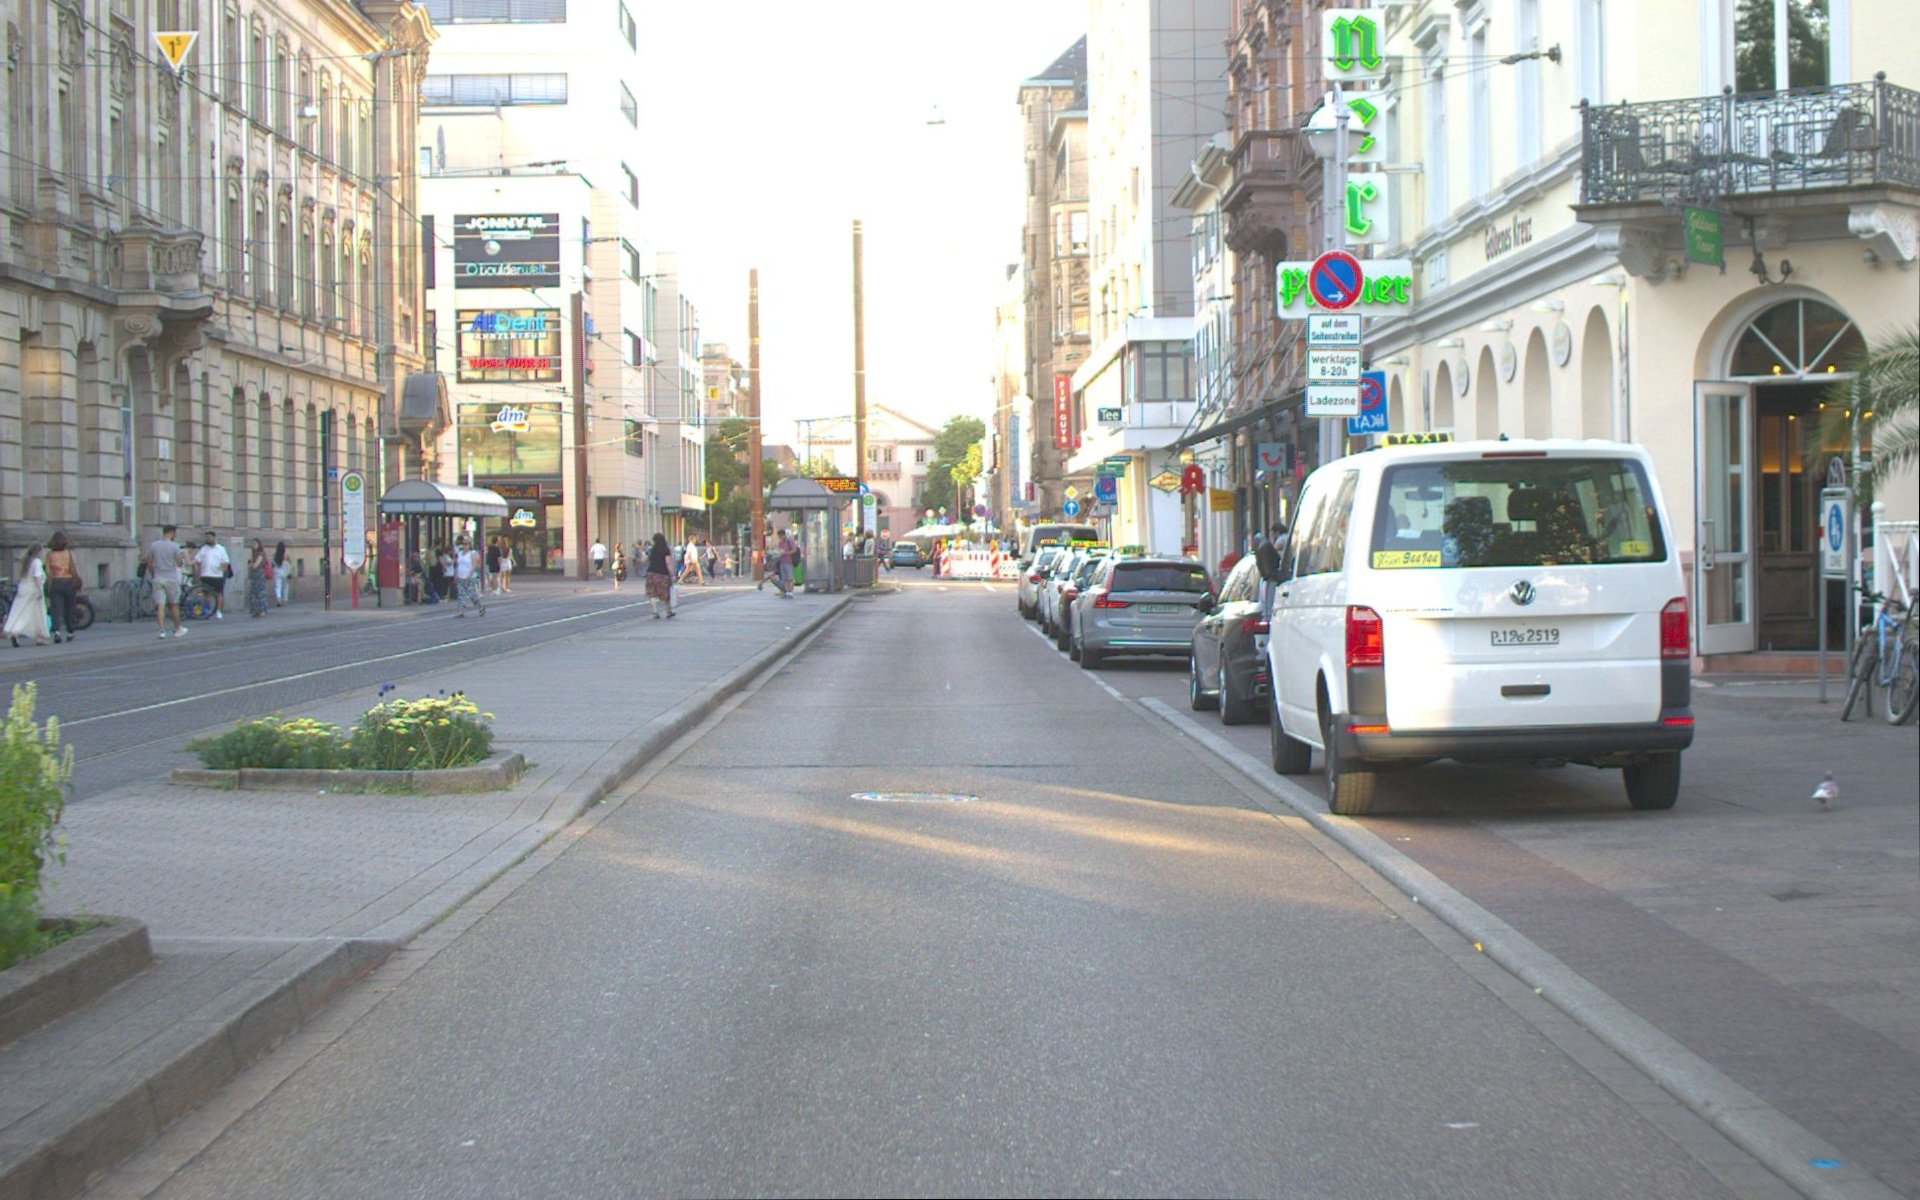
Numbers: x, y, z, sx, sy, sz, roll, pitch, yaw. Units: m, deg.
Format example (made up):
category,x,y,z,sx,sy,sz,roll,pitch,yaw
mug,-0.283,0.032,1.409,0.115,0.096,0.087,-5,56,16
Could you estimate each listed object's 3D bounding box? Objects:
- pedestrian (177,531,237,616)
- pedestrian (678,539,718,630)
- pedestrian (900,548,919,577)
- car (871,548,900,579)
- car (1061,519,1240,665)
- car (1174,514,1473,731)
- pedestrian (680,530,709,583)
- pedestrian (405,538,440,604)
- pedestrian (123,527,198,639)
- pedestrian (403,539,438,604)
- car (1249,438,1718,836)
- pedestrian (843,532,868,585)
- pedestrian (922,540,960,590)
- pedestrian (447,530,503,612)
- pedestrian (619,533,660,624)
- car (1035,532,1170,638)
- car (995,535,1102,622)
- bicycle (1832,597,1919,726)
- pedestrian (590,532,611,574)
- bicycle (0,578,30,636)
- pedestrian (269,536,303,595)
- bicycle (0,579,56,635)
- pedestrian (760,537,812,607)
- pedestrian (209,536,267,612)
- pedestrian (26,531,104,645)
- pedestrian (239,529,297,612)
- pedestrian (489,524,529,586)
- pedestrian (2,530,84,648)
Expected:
category,x,y,z,sx,sy,sz,roll,pitch,yaw
pedestrian,-15.053,-0.542,68.718,1.048,1.680,0.908,-1,1,-19
pedestrian,-4.739,-0.288,62.141,0.671,1.630,0.763,0,1,-8
pedestrian,-3.096,-2.294,210.092,0.782,1.728,0.811,-2,-1,40
car,-4.571,-2.257,211.692,1.760,1.821,3.570,-1,-1,-1
car,2.400,-0.121,44.343,1.993,1.755,4.421,-1,0,-1
car,2.981,0.164,29.080,1.993,1.661,4.421,-1,0,-1
pedestrian,-9.714,-1.594,125.771,0.905,1.922,0.851,-1,1,-16
pedestrian,-13.016,-0.705,83.237,0.773,1.575,0.679,-1,1,-12
pedestrian,-12.169,-0.251,52.356,1.048,1.680,0.908,-1,-1,-10
pedestrian,-13.197,-0.709,84.100,0.777,1.575,0.679,-1,1,-12
car,2.826,0.164,19.540,1.915,1.975,4.421,-1,1,-1
pedestrian,-3.015,-1.192,99.302,0.612,1.518,0.621,-1,-1,-9
pedestrian,-0.735,-1.371,134.493,1.229,1.922,1.022,-1,1,-16
pedestrian,-10.076,-0.608,71.428,1.049,1.680,0.908,0,1,-1
pedestrian,-5.763,-0.390,61.836,0.689,1.630,0.581,0,1,-8
car,2.322,-0.220,57.181,1.993,1.661,4.421,-1,-1,-1
car,1.777,-0.413,70.331,1.993,1.661,4.421,-1,-1,-1
bicycle,6.627,0.441,24.875,0.250,0.899,1.374,-1,-1,-1
pedestrian,-16.469,-2.153,157.506,0.848,1.922,0.908,-1,1,0
bicycle,-16.257,0.120,56.998,1.582,0.946,0.359,-1,-1,-12
pedestrian,-16.331,-0.829,83.274,0.629,1.424,0.710,0,1,6
bicycle,-16.209,0.126,58.459,1.582,0.946,0.359,-1,-1,-12
pedestrian,-4.211,-0.671,83.160,1.049,1.680,0.908,-1,-1,11
pedestrian,-16.082,-0.586,76.578,1.049,1.680,0.791,-1,1,6
pedestrian,-13.439,-0.170,51.635,1.048,1.680,0.908,-1,-1,-10
pedestrian,-14.204,-0.608,70.557,1.048,1.680,0.908,-1,1,-19
pedestrian,-14.131,-1.407,107.774,0.907,1.922,0.849,0,1,31
pedestrian,-13.256,-0.154,49.742,1.048,1.680,0.908,-1,-1,-10
